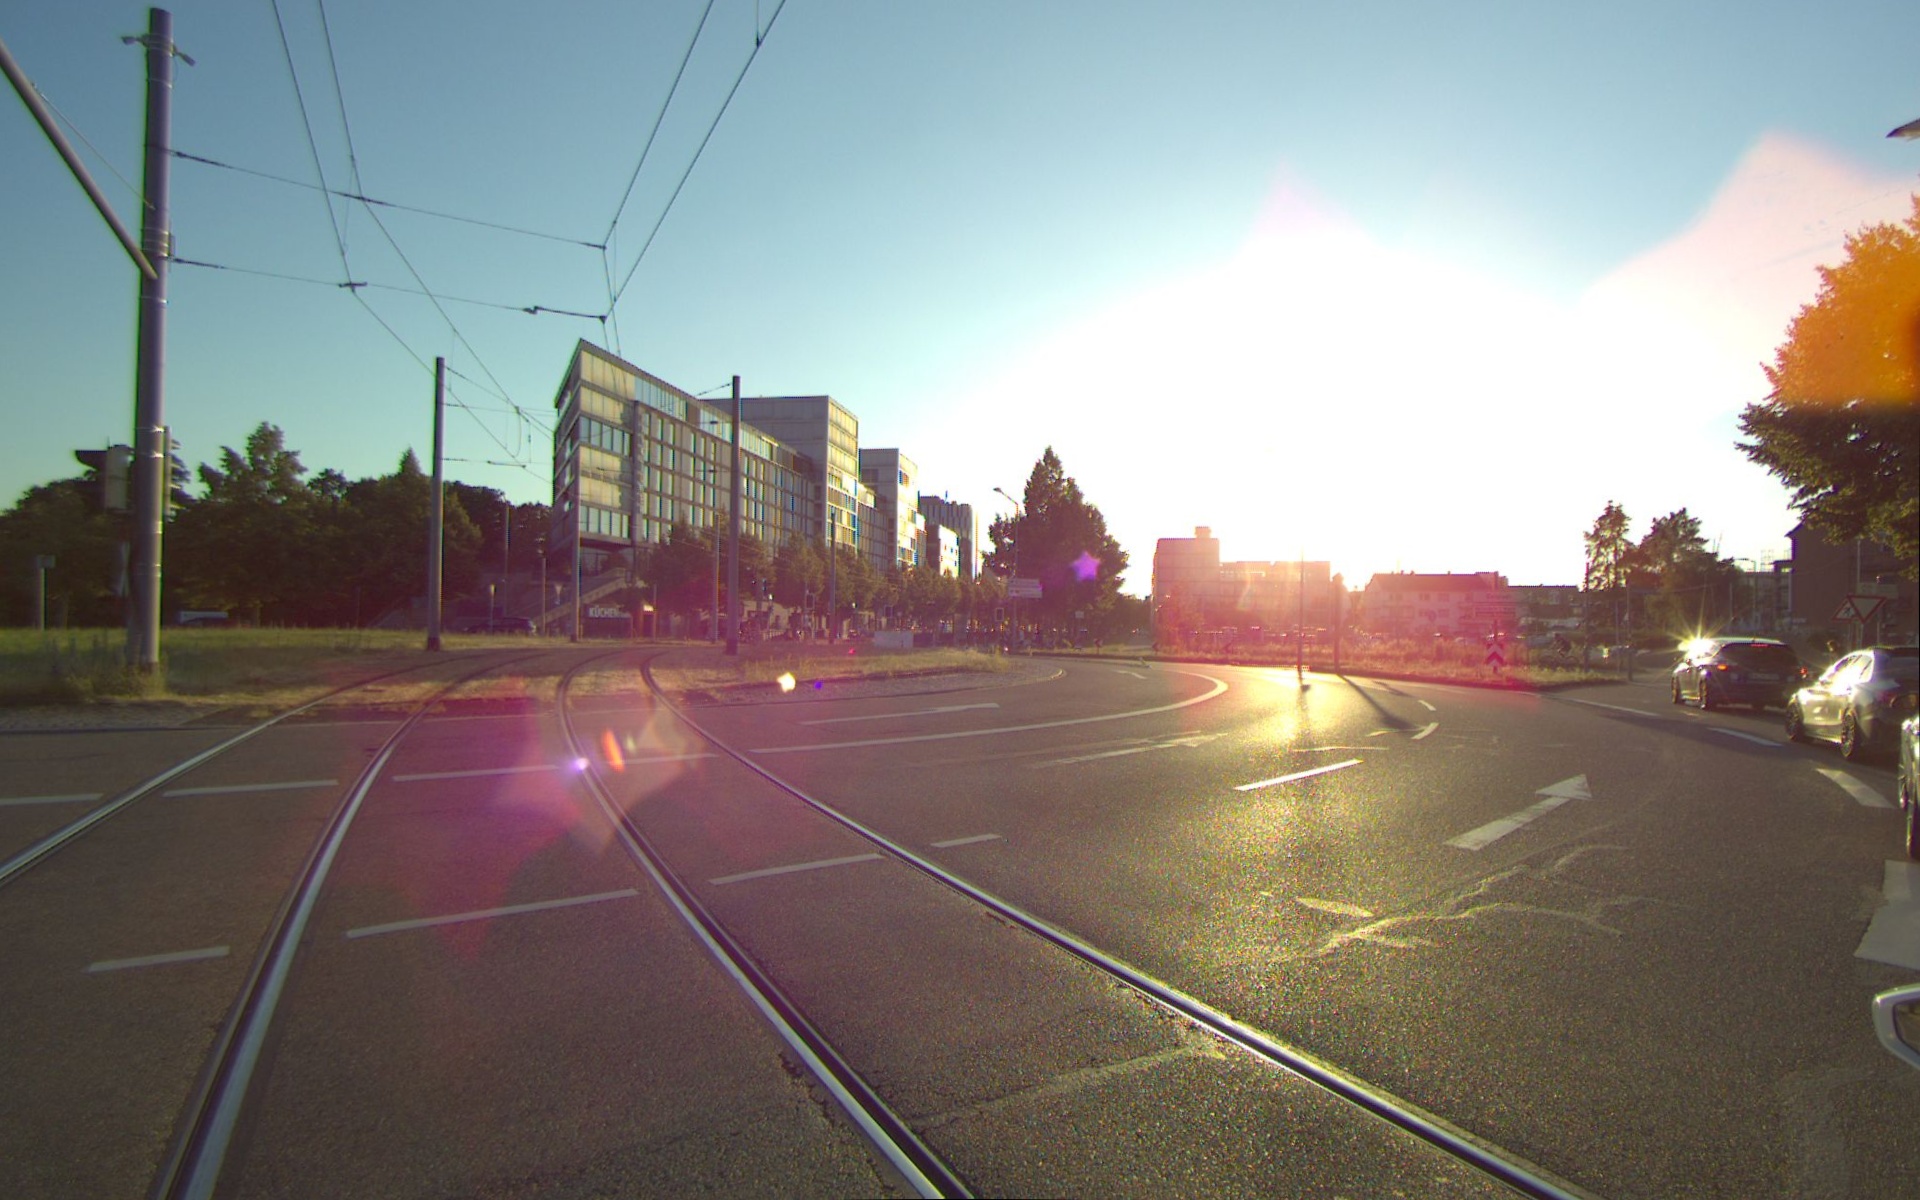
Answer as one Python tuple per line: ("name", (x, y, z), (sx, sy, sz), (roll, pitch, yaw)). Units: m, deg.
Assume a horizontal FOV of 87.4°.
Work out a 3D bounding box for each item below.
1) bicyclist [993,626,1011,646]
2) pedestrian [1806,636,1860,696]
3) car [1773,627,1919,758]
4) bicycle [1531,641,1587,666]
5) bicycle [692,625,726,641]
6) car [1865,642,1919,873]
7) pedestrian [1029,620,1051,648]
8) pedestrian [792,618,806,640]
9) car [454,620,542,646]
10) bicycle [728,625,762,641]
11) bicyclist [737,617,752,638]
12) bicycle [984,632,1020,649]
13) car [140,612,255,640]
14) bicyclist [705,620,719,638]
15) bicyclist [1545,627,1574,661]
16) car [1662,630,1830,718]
("bicyclist", (2.940, 2.525, 70.268), (0.960, 1.412, 0.753), (0, -1, 28))
("pedestrian", (25.487, 1.922, 29.335), (0.830, 1.708, 0.886), (1, -1, -8))
("car", (12.323, 1.123, 13.047), (1.922, 1.446, 4.422), (2, 0, 29))
("bicycle", (29.533, 2.647, 49.549), (2.364, 1.182, 0.754), (1, -1, -5))
("bicycle", (-18.997, 2.519, 76.165), (2.361, 1.182, 0.755), (1, -1, 1))
("car", (7.953, 1.053, 7.209), (1.928, 1.360, 4.649), (3, 0, 40))
("pedestrian", (5.498, 2.333, 68.796), (1.142, 1.851, 0.977), (0, -1, 32))
("pedestrian", (-12.587, 2.257, 78.364), (0.870, 1.730, 0.795), (1, -1, 4))
("car", (-27.140, 1.925, 59.113), (4.236, 1.451, 1.944), (0, -1, -2))
("bicycle", (-16.339, 2.533, 76.295), (2.362, 1.182, 0.754), (1, -1, -2))
("bicyclist", (-16.411, 2.080, 76.359), (0.959, 1.545, 0.754), (1, -1, -2))
("bicycle", (2.933, 2.828, 70.287), (2.365, 1.182, 0.753), (0, -1, 28))
("car", (-41.101, 1.412, 54.264), (4.527, 1.451, 1.935), (1, -1, -21))
("bicyclist", (-18.785, 2.201, 76.196), (0.862, 1.411, 0.755), (1, -1, 1))
("bicyclist", (29.541, 2.160, 49.532), (0.959, 1.634, 0.754), (1, -1, -5))
("car", (17.451, 1.559, 22.544), (1.920, 1.623, 4.075), (4, 0, 24))
